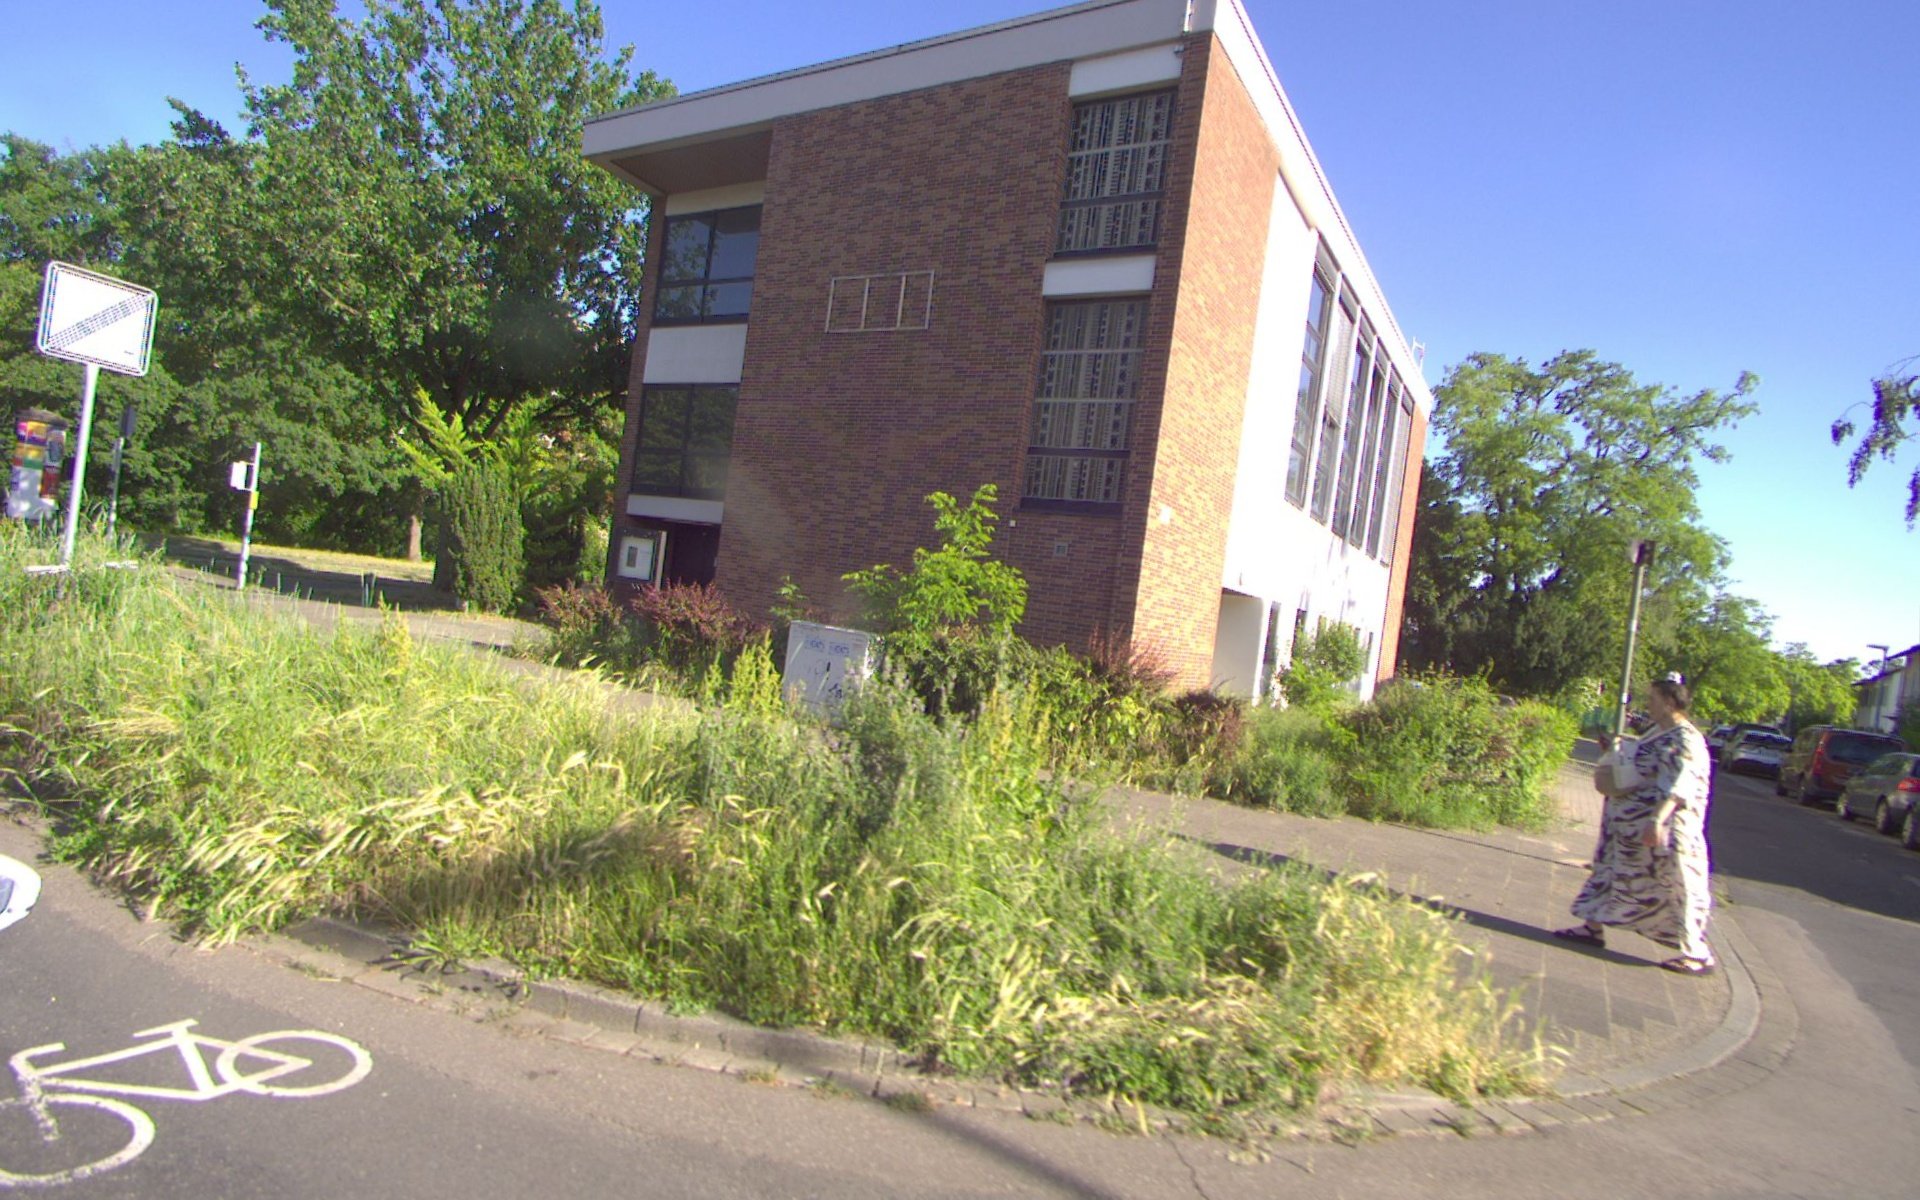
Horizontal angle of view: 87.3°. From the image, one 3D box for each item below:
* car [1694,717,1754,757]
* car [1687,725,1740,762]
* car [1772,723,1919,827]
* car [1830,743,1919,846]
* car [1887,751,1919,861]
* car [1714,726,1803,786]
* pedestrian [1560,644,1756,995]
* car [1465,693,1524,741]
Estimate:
[{"bbox_3d":[37.222,6.661,49.090,1.776,1.520,3.948,9,0,32],"label":"car"},{"bbox_3d":[40.531,7.686,54.187,1.776,1.520,3.948,9,0,32],"label":"car"},{"bbox_3d":[20.357,3.939,23.248,1.776,1.814,3.948,9,0,32],"label":"car"},{"bbox_3d":[17.587,3.603,18.402,1.776,1.520,3.948,9,0,32],"label":"car"},{"bbox_3d":[14.529,3.083,13.813,1.776,1.520,3.948,9,0,32],"label":"car"},{"bbox_3d":[27.059,5.250,34.210,1.776,1.520,3.948,9,0,32],"label":"car"},{"bbox_3d":[4.194,1.260,6.079,0.725,1.843,0.900,7,-1,35],"label":"pedestrian"},{"bbox_3d":[20.997,4.581,39.561,1.793,1.536,3.999,7,-2,28],"label":"car"}]
